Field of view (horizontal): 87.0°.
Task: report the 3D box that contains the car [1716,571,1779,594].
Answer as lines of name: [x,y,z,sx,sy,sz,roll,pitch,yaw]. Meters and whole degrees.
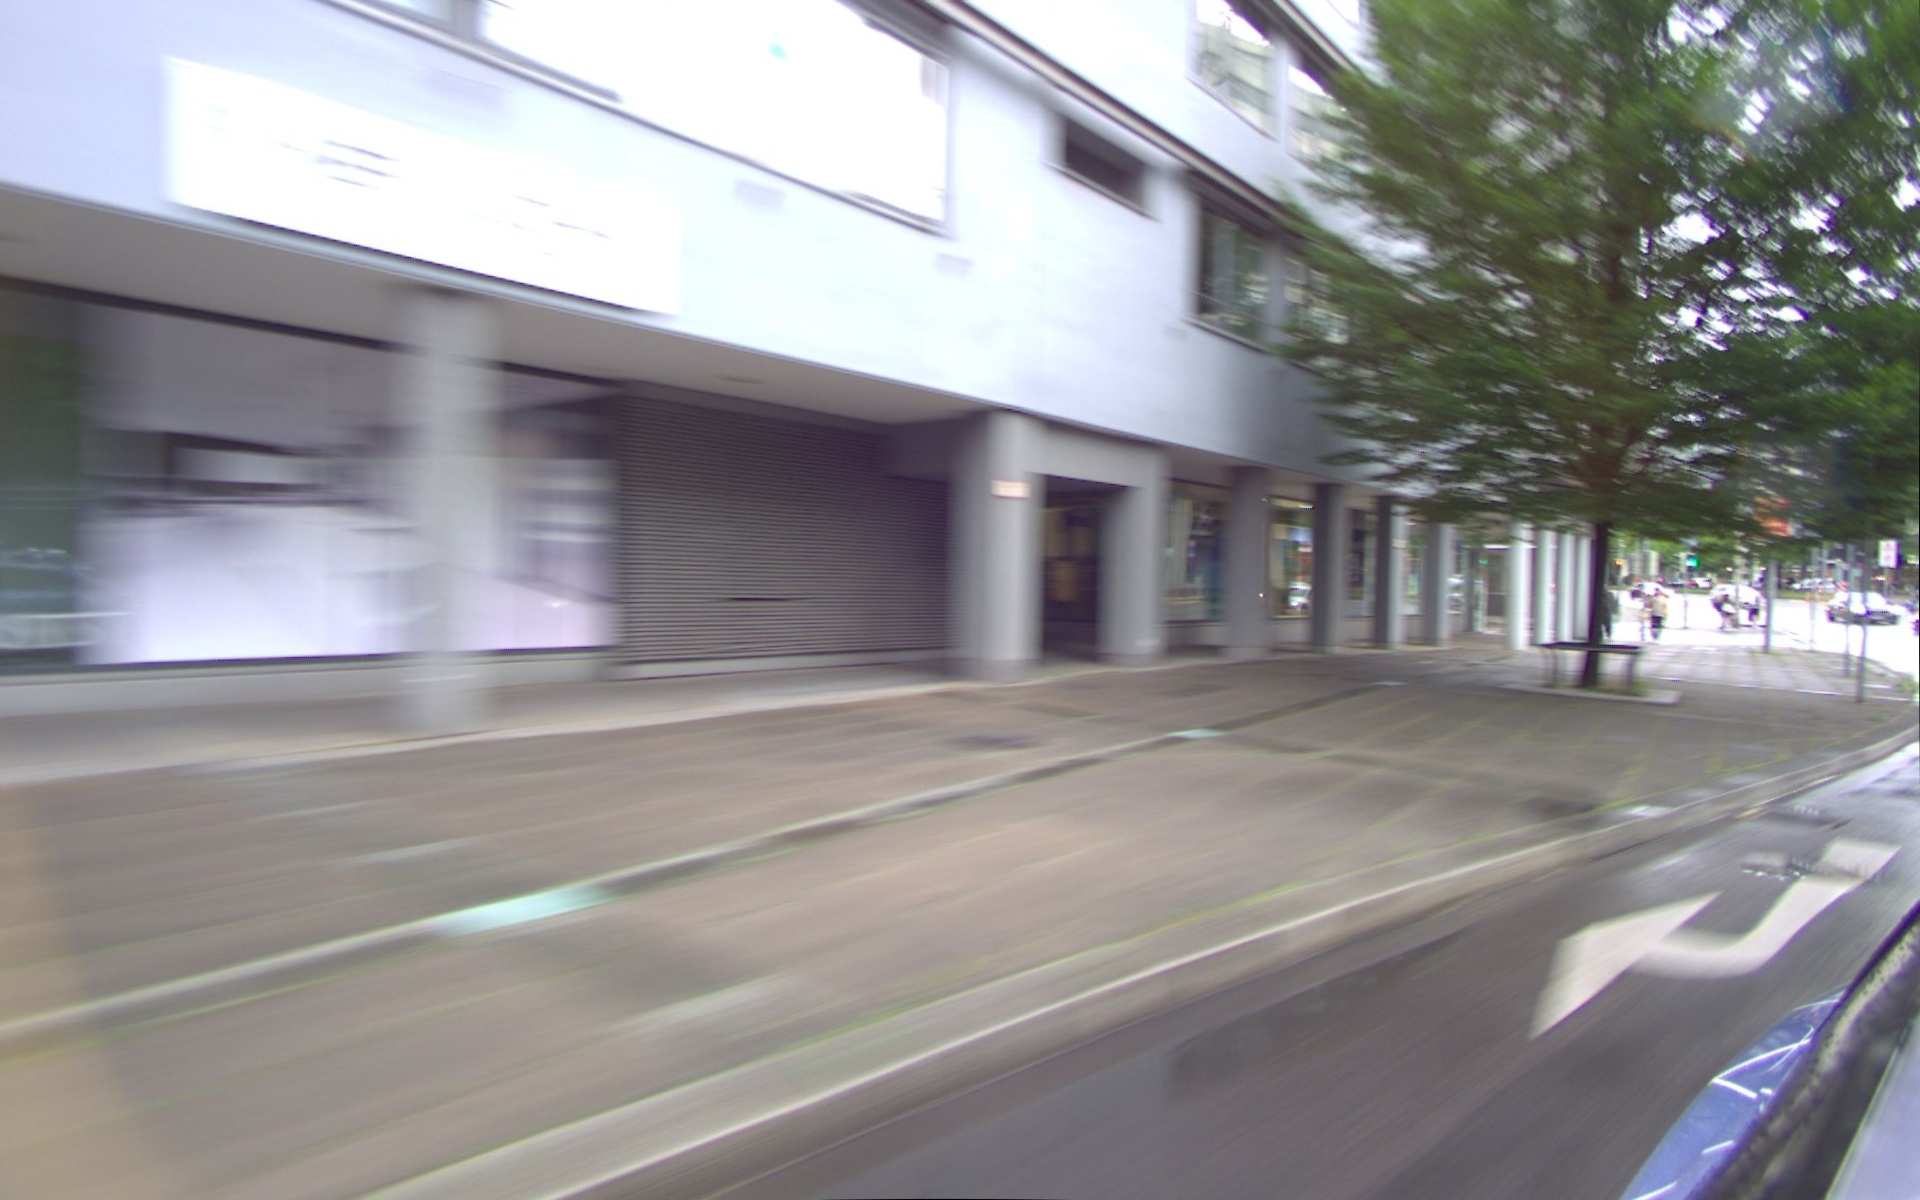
car: [51.671,-1.168,66.496,1.866,1.504,3.981,0,1,16]

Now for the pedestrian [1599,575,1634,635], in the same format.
pedestrian: [20.069,0.139,30.949,0.791,1.805,0.881,0,-1,41]

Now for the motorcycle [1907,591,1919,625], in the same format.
motorcycle: [39.063,0.324,40.908,1.127,1.282,3.321,0,2,44]

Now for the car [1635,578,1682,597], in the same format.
car: [55.702,-1.008,80.724,1.866,1.504,3.981,0,1,16]

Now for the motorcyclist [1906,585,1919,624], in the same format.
motorcyclist: [39.076,0.180,40.946,1.149,1.529,1.178,0,1,44]

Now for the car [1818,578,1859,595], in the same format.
car: [79.607,-1.201,91.765,1.724,1.482,3.967,0,1,25]

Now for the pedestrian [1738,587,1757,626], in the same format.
pedestrian: [33.231,0.253,42.710,0.651,1.618,1.044,0,1,38]

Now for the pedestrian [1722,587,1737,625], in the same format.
pedestrian: [32.882,0.253,43.244,0.524,1.618,0.721,0,1,38]

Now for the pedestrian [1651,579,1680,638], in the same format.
pedestrian: [22.134,0.265,31.748,0.639,1.805,0.866,0,-1,44]

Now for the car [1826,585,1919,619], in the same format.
car: [44.000,0.067,48.780,1.865,1.504,3.983,0,1,14]
